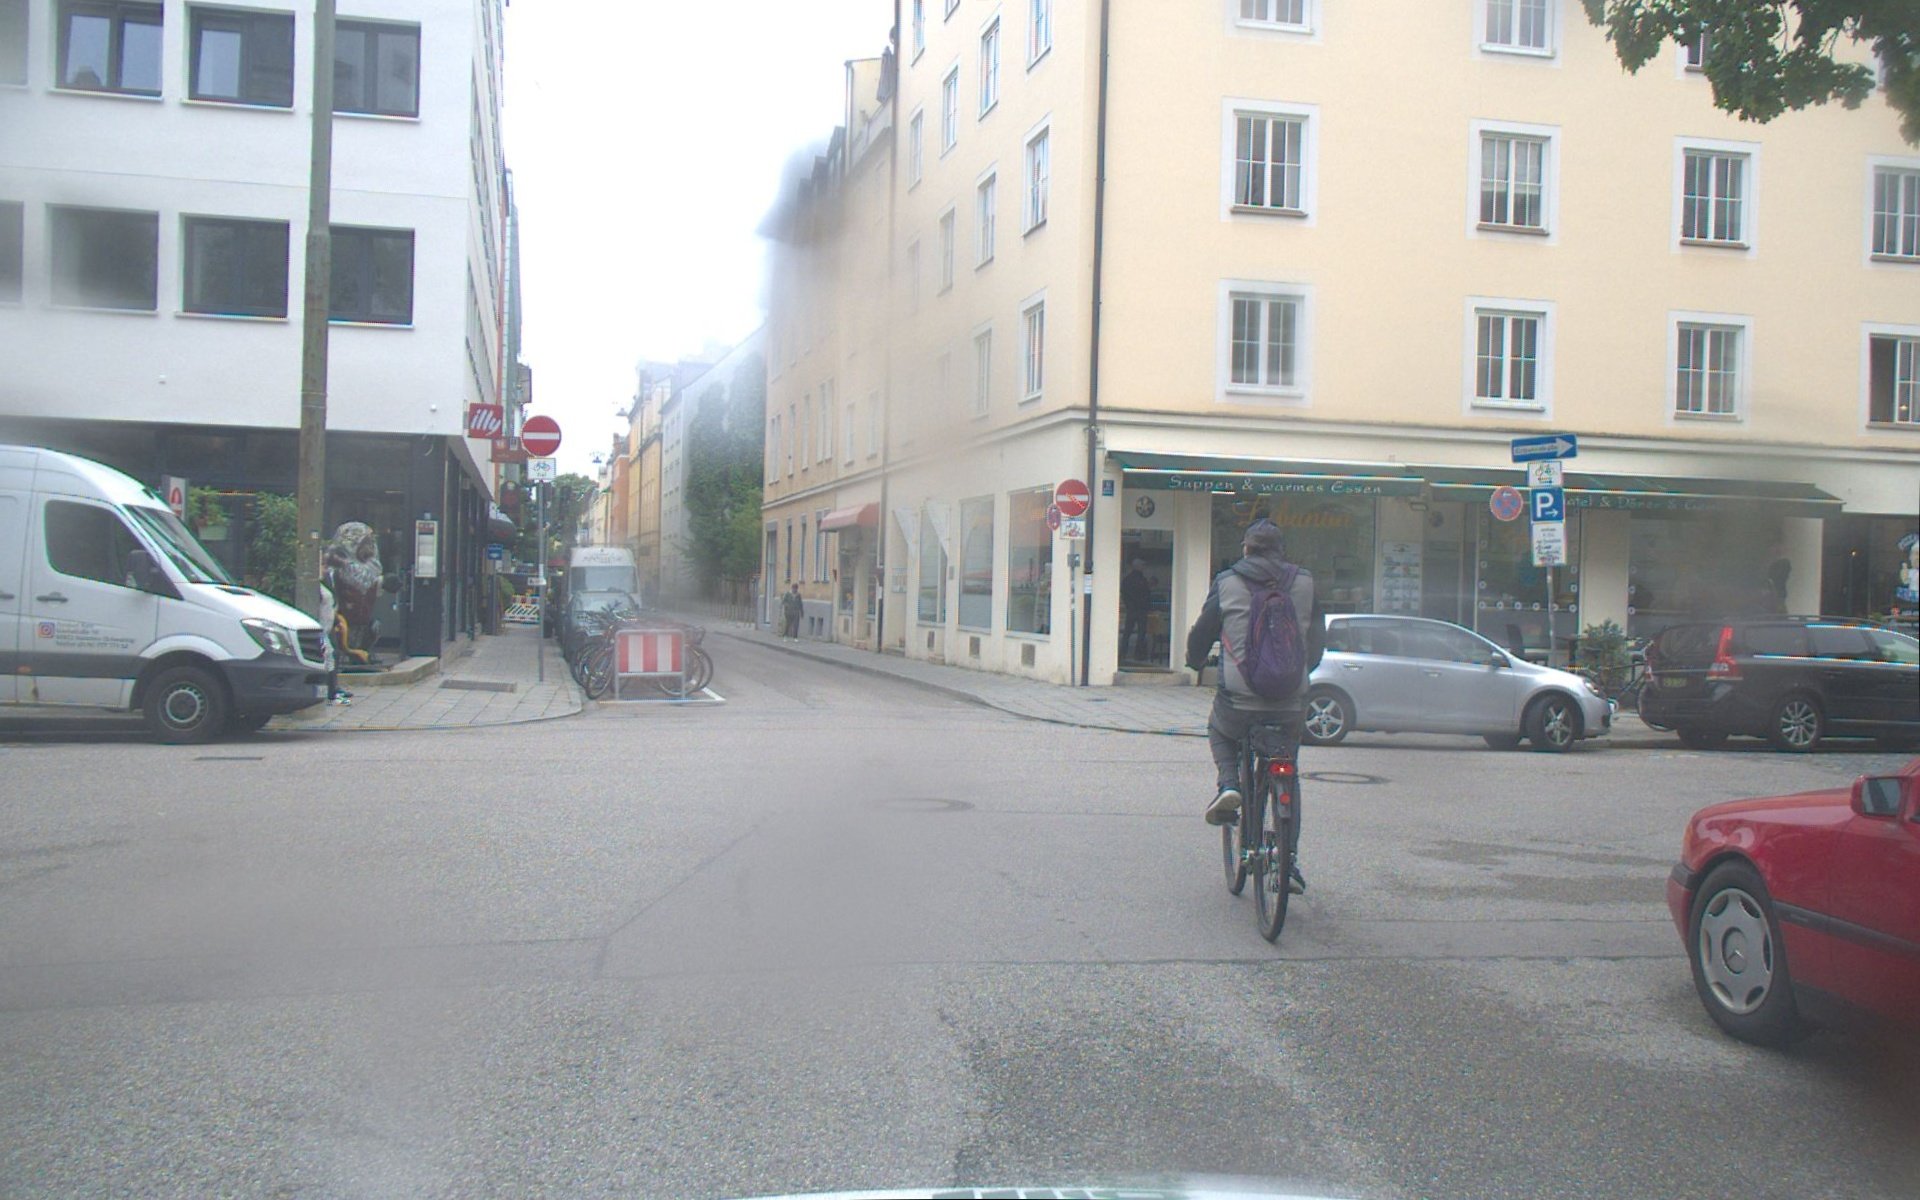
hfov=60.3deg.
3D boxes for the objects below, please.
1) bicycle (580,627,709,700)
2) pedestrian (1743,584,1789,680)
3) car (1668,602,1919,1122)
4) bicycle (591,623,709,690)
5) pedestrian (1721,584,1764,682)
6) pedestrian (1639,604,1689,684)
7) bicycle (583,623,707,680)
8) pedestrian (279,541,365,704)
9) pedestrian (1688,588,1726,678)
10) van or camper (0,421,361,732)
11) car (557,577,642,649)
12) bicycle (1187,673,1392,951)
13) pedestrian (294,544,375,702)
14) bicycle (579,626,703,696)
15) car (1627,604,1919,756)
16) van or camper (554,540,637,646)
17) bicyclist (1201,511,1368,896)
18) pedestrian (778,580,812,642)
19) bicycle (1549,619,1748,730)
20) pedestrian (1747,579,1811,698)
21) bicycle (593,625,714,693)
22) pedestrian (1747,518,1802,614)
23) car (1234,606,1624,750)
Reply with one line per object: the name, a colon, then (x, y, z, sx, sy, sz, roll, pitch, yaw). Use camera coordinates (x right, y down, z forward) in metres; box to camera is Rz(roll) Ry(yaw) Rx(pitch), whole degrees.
bicycle: (-4.438, 0.896, 23.271, 1.727, 0.985, 0.592, 1, 0, -18)
pedestrian: (13.474, 0.531, 27.650, 0.428, 1.578, 0.530, 1, 0, -29)
car: (3.594, 0.793, 4.190, 1.636, 1.460, 4.212, 2, 1, -2)
bicycle: (-4.728, 0.860, 25.254, 1.709, 0.985, 0.541, 1, 0, -18)
pedestrian: (12.860, 0.532, 27.186, 0.546, 1.564, 0.433, 3, 2, 33)
pedestrian: (11.768, 0.731, 27.657, 0.507, 1.319, 0.576, 1, 0, -32)
bicycle: (-5.034, 0.822, 26.430, 1.881, 0.878, 0.615, 1, 0, -18)
pedestrian: (-7.315, 0.250, 18.957, 0.781, 1.776, 0.765, 3, 2, -27)
pedestrian: (12.425, 0.545, 27.521, 0.502, 1.458, 0.582, 1, 0, 30)
van or camper: (-8.837, -0.199, 15.431, 5.797, 2.724, 1.868, 1, -2, -10)
car: (-8.430, 0.277, 38.572, 1.801, 1.562, 3.987, 1, 0, -13)
bicycle: (1.445, 0.894, 7.503, 0.626, 1.022, 1.574, 2, 0, 2)
pedestrian: (-7.462, 0.272, 19.713, 0.768, 1.814, 0.614, 3, 2, -27)
bicycle: (-4.613, 0.884, 23.934, 1.709, 0.985, 0.541, 1, 0, -18)
car: (10.260, 0.937, 19.369, 4.259, 1.619, 1.815, 2, -1, -12)
van or camper: (-9.518, -0.196, 43.267, 1.958, 2.584, 4.746, 1, 0, -12)
bicyclist: (1.445, 0.437, 7.456, 0.593, 1.634, 0.758, 1, 1, 2)
pedestrian: (-4.840, 0.316, 48.401, 0.862, 1.809, 0.771, 1, 0, -13)
bicycle: (8.754, 0.936, 21.079, 2.045, 1.275, 1.104, 2, 1, -11)
pedestrian: (12.195, 0.573, 24.634, 0.591, 1.731, 0.542, 1, 2, -10)
bicycle: (-4.563, 0.876, 24.650, 1.709, 0.985, 0.541, 1, 0, -18)
pedestrian: (13.931, -0.577, 28.294, 0.542, 1.602, 0.576, 3, 0, -11)
car: (5.229, 0.897, 18.788, 3.905, 1.441, 1.820, 2, -3, 0)
